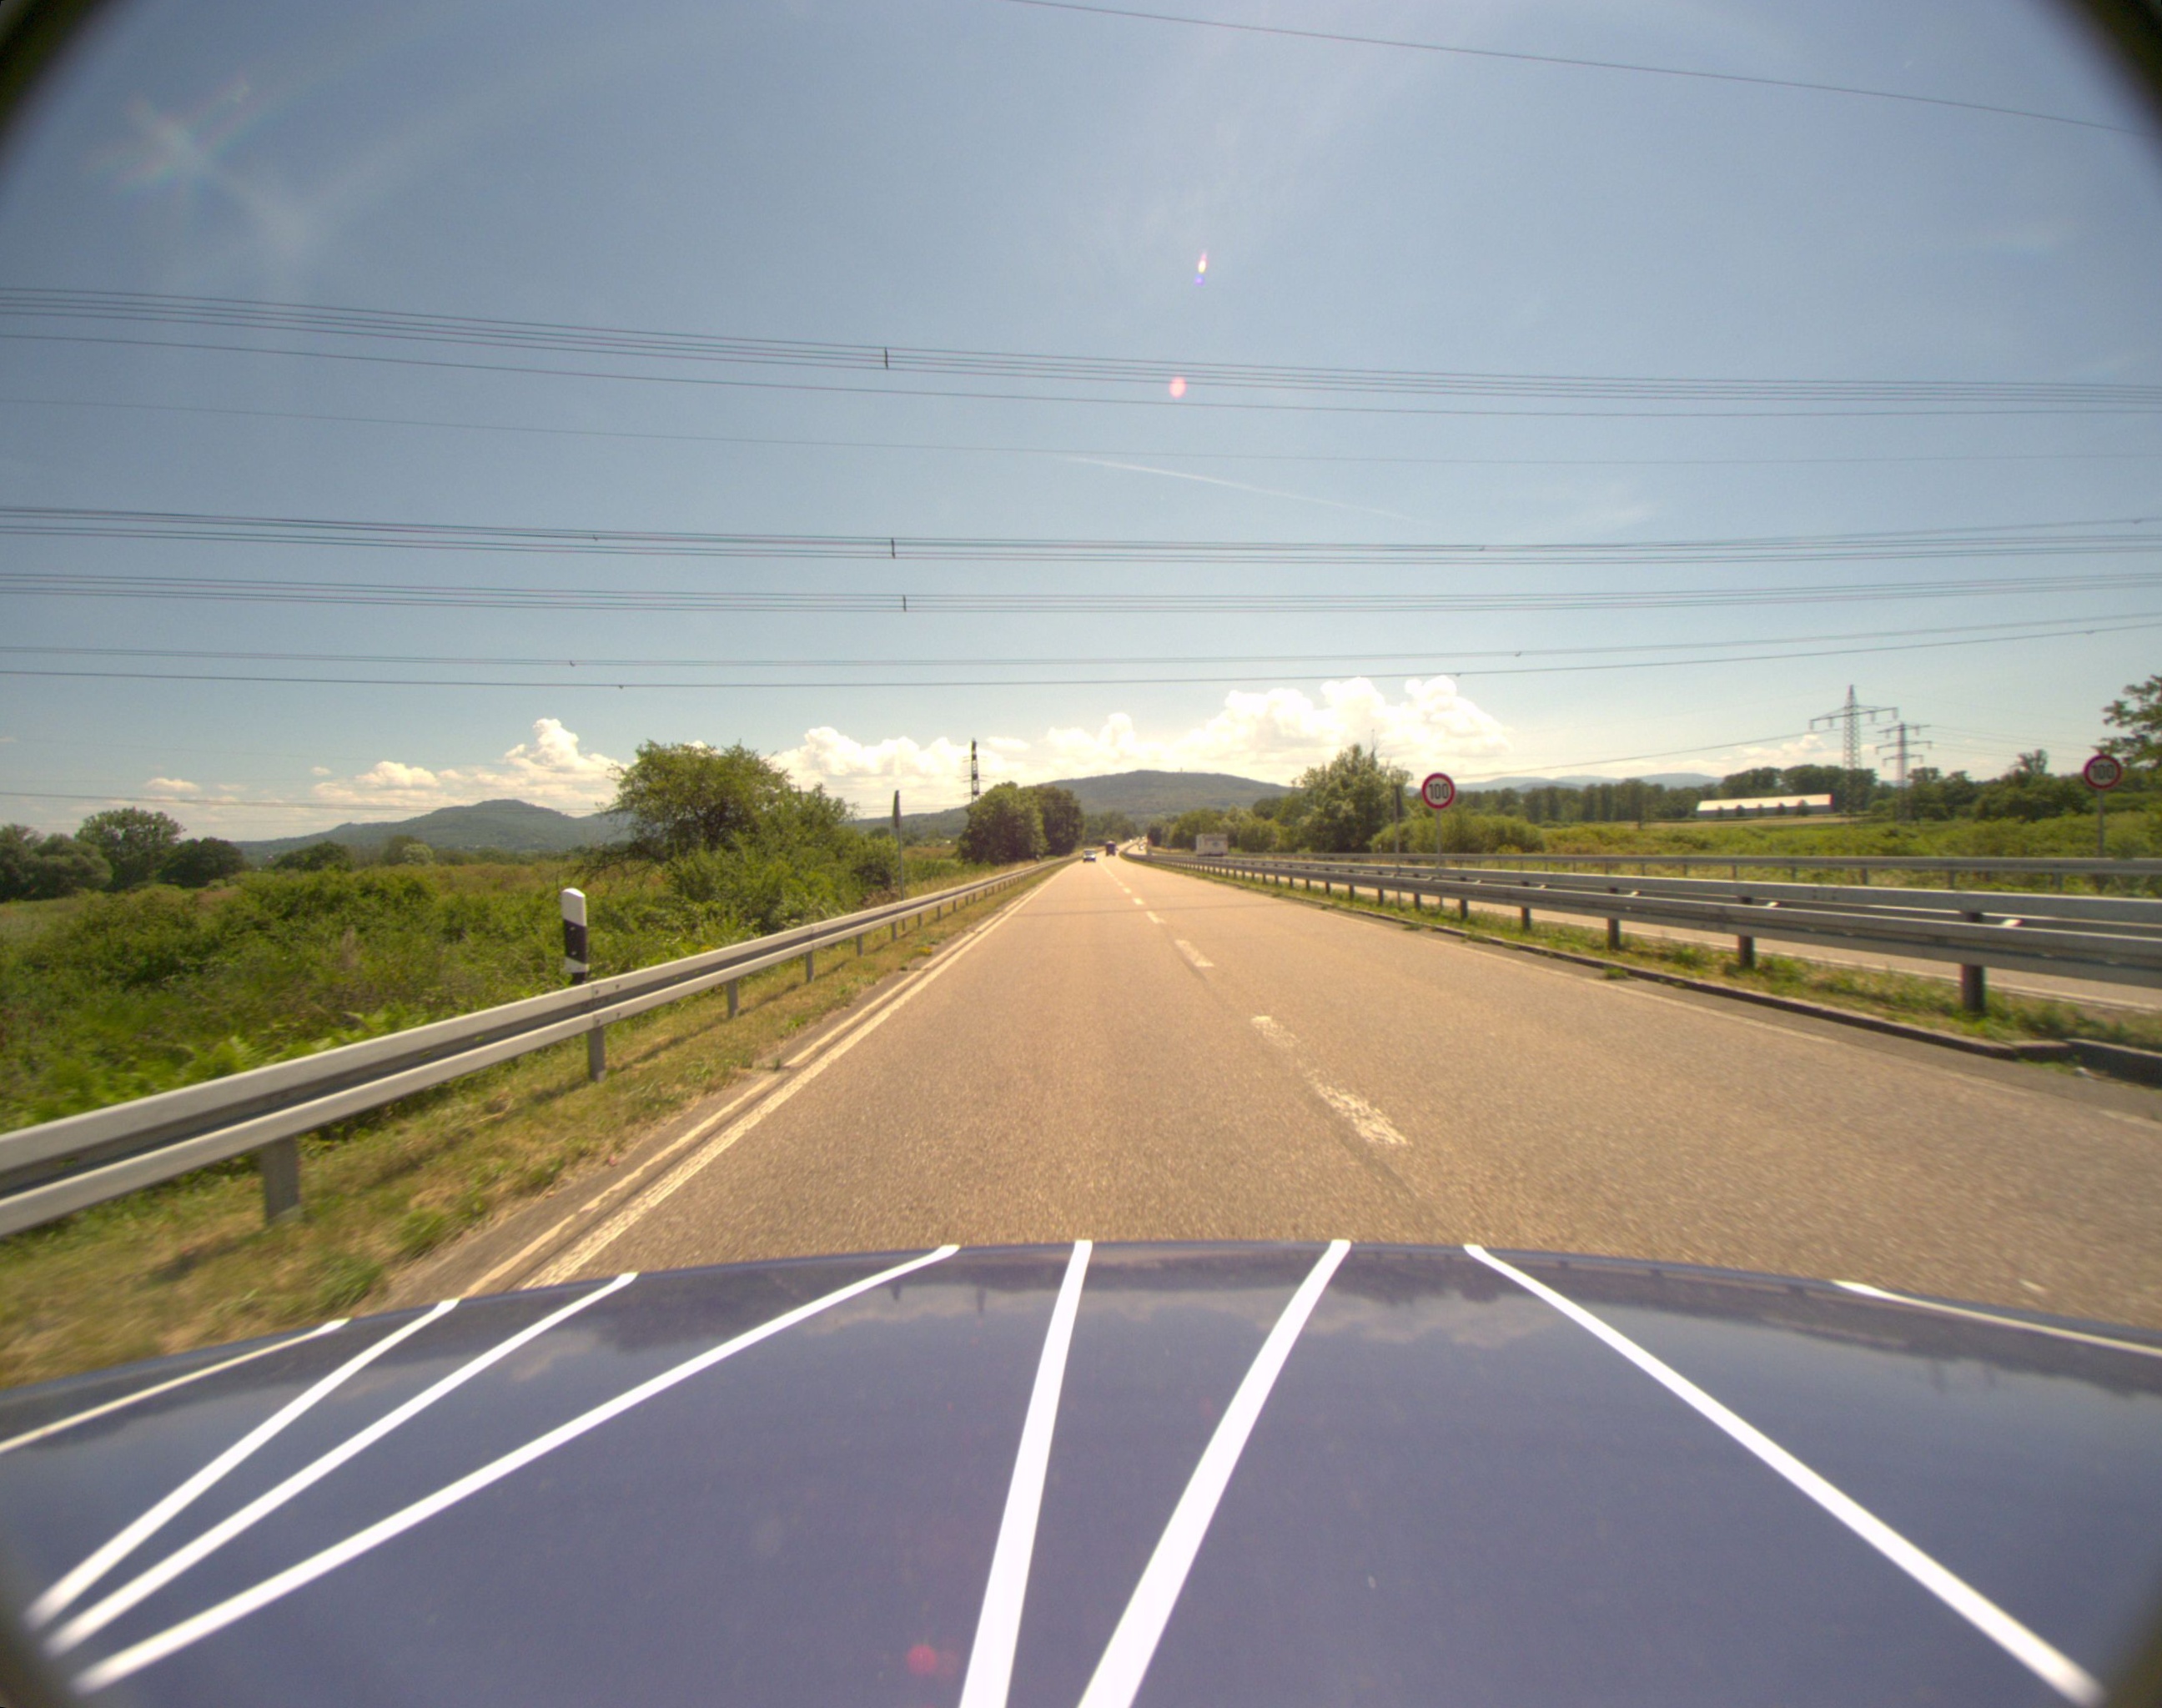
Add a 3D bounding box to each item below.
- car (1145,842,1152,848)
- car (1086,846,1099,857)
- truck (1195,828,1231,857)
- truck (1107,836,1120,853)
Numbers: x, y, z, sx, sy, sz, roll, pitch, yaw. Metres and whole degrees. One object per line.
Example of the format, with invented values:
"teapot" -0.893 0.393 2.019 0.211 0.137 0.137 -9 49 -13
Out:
"car" 17.752 -2.378 200.271 1.536 1.441 3.701 -2 1 1
"car" 1.642 -0.356 108.381 1.577 1.387 3.486 -2 1 5
"truck" 15.180 -1.329 88.078 2.725 3.175 8.404 -1 1 1
"truck" 8.756 -2.577 201.446 2.826 4.143 9.949 -2 1 5
